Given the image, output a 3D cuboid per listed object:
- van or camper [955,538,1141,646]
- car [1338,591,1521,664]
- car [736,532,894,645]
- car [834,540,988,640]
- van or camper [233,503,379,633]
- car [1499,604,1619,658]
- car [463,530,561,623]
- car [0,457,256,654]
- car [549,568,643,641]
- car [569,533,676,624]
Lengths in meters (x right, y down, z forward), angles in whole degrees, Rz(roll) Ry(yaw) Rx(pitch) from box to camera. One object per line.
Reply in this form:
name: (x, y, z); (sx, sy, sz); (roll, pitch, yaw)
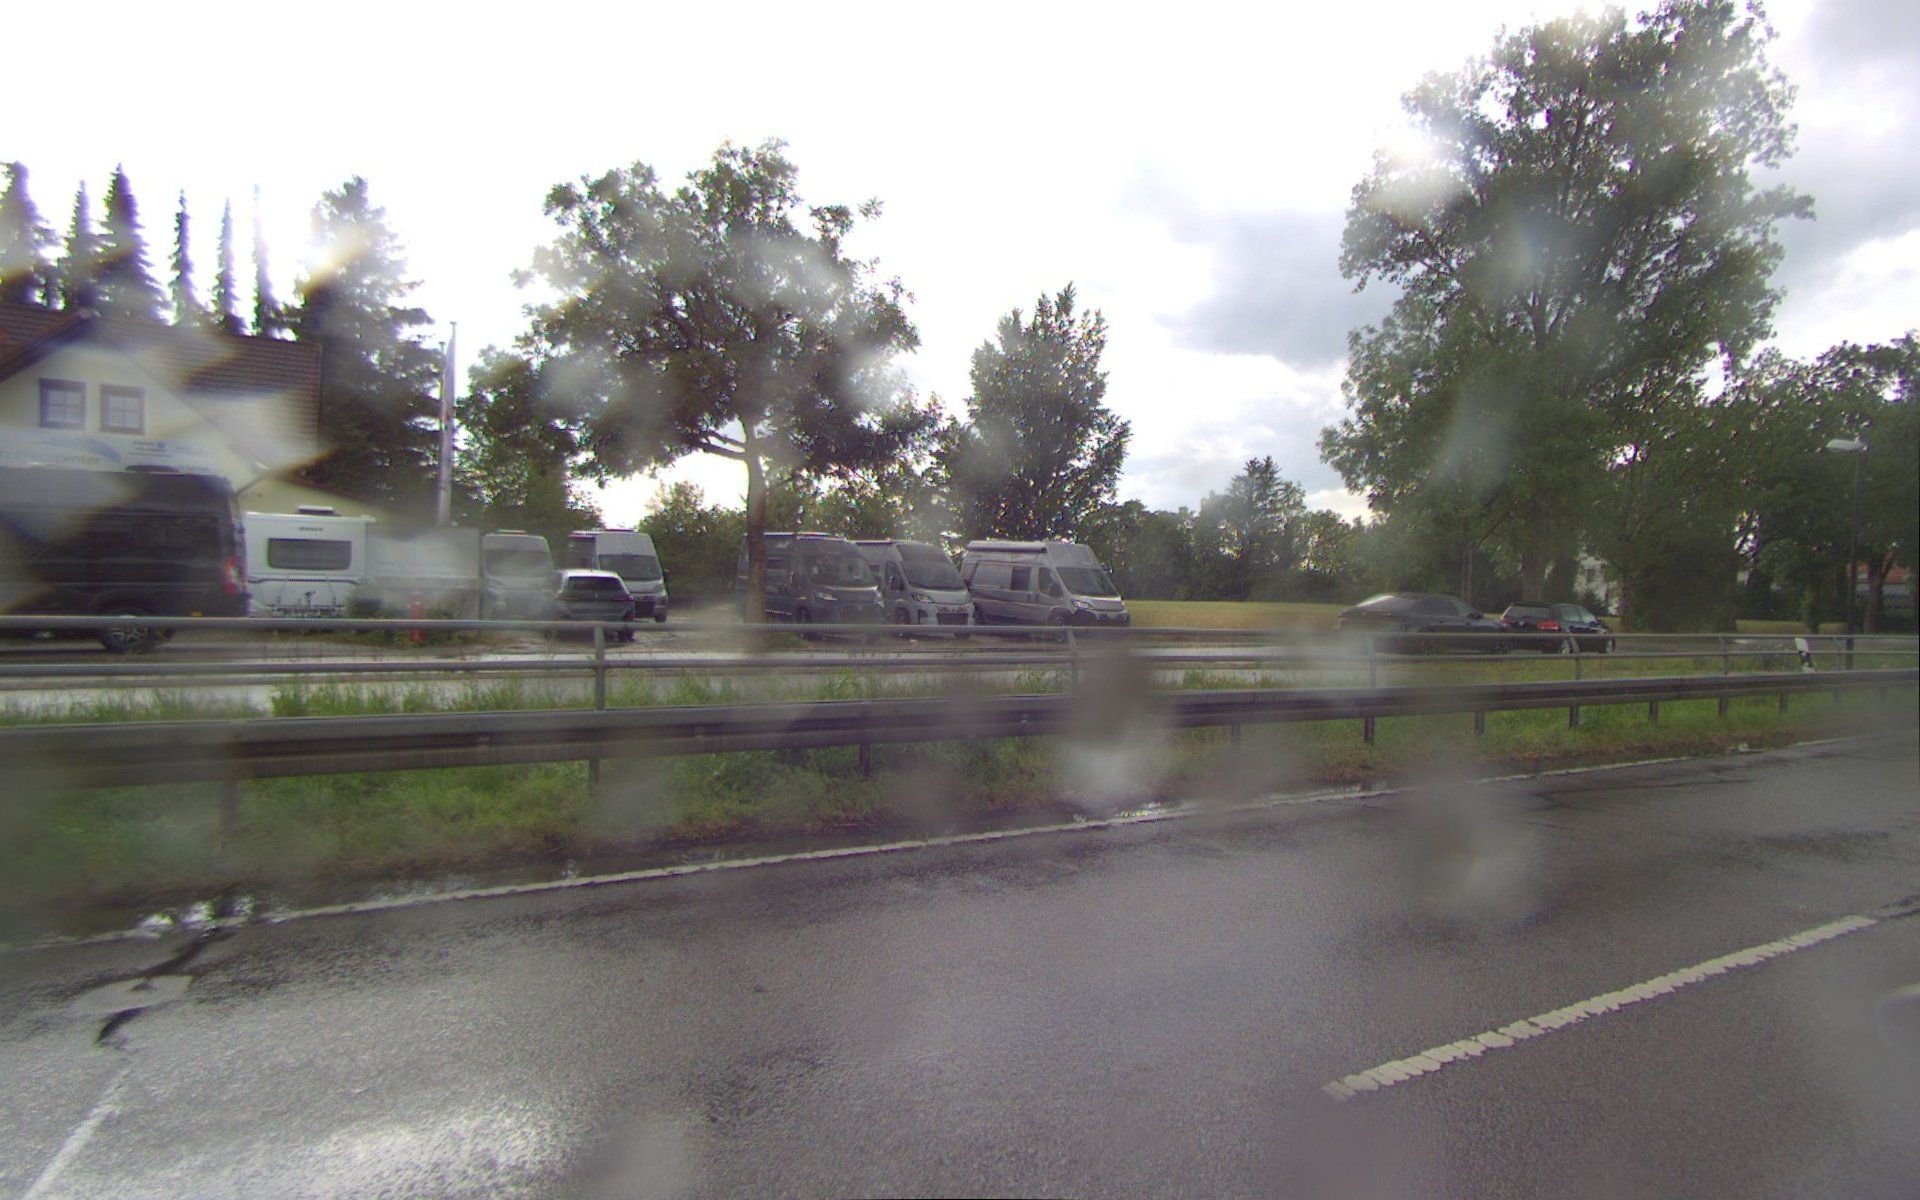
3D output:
van or camper: (2.302, -0.296, 28.300); (2.058, 2.713, 5.841); (1, 2, -32)
car: (11.083, 0.629, 23.553); (5.070, 1.511, 1.505); (1, 2, -35)
car: (-3.772, -0.334, 25.237); (1.978, 2.535, 5.153); (1, 2, -32)
car: (-1.478, -0.327, 27.752); (1.978, 2.492, 5.063); (1, 2, -32)
van or camper: (-15.237, -0.741, 23.714); (2.533, 2.626, 6.190); (1, 2, -31)
car: (16.246, 0.830, 27.196); (3.858, 1.349, 1.274); (1, 1, -35)
car: (-13.380, -0.698, 29.754); (2.066, 2.449, 6.063); (1, 1, -29)
car: (-14.192, -0.675, 15.302); (5.512, 2.800, 2.369); (1, 2, -33)
car: (-8.473, 0.056, 23.198); (1.521, 1.516, 3.868); (1, 2, -28)
car: (-10.701, -0.688, 31.496); (2.066, 2.573, 6.063); (1, 1, -29)
